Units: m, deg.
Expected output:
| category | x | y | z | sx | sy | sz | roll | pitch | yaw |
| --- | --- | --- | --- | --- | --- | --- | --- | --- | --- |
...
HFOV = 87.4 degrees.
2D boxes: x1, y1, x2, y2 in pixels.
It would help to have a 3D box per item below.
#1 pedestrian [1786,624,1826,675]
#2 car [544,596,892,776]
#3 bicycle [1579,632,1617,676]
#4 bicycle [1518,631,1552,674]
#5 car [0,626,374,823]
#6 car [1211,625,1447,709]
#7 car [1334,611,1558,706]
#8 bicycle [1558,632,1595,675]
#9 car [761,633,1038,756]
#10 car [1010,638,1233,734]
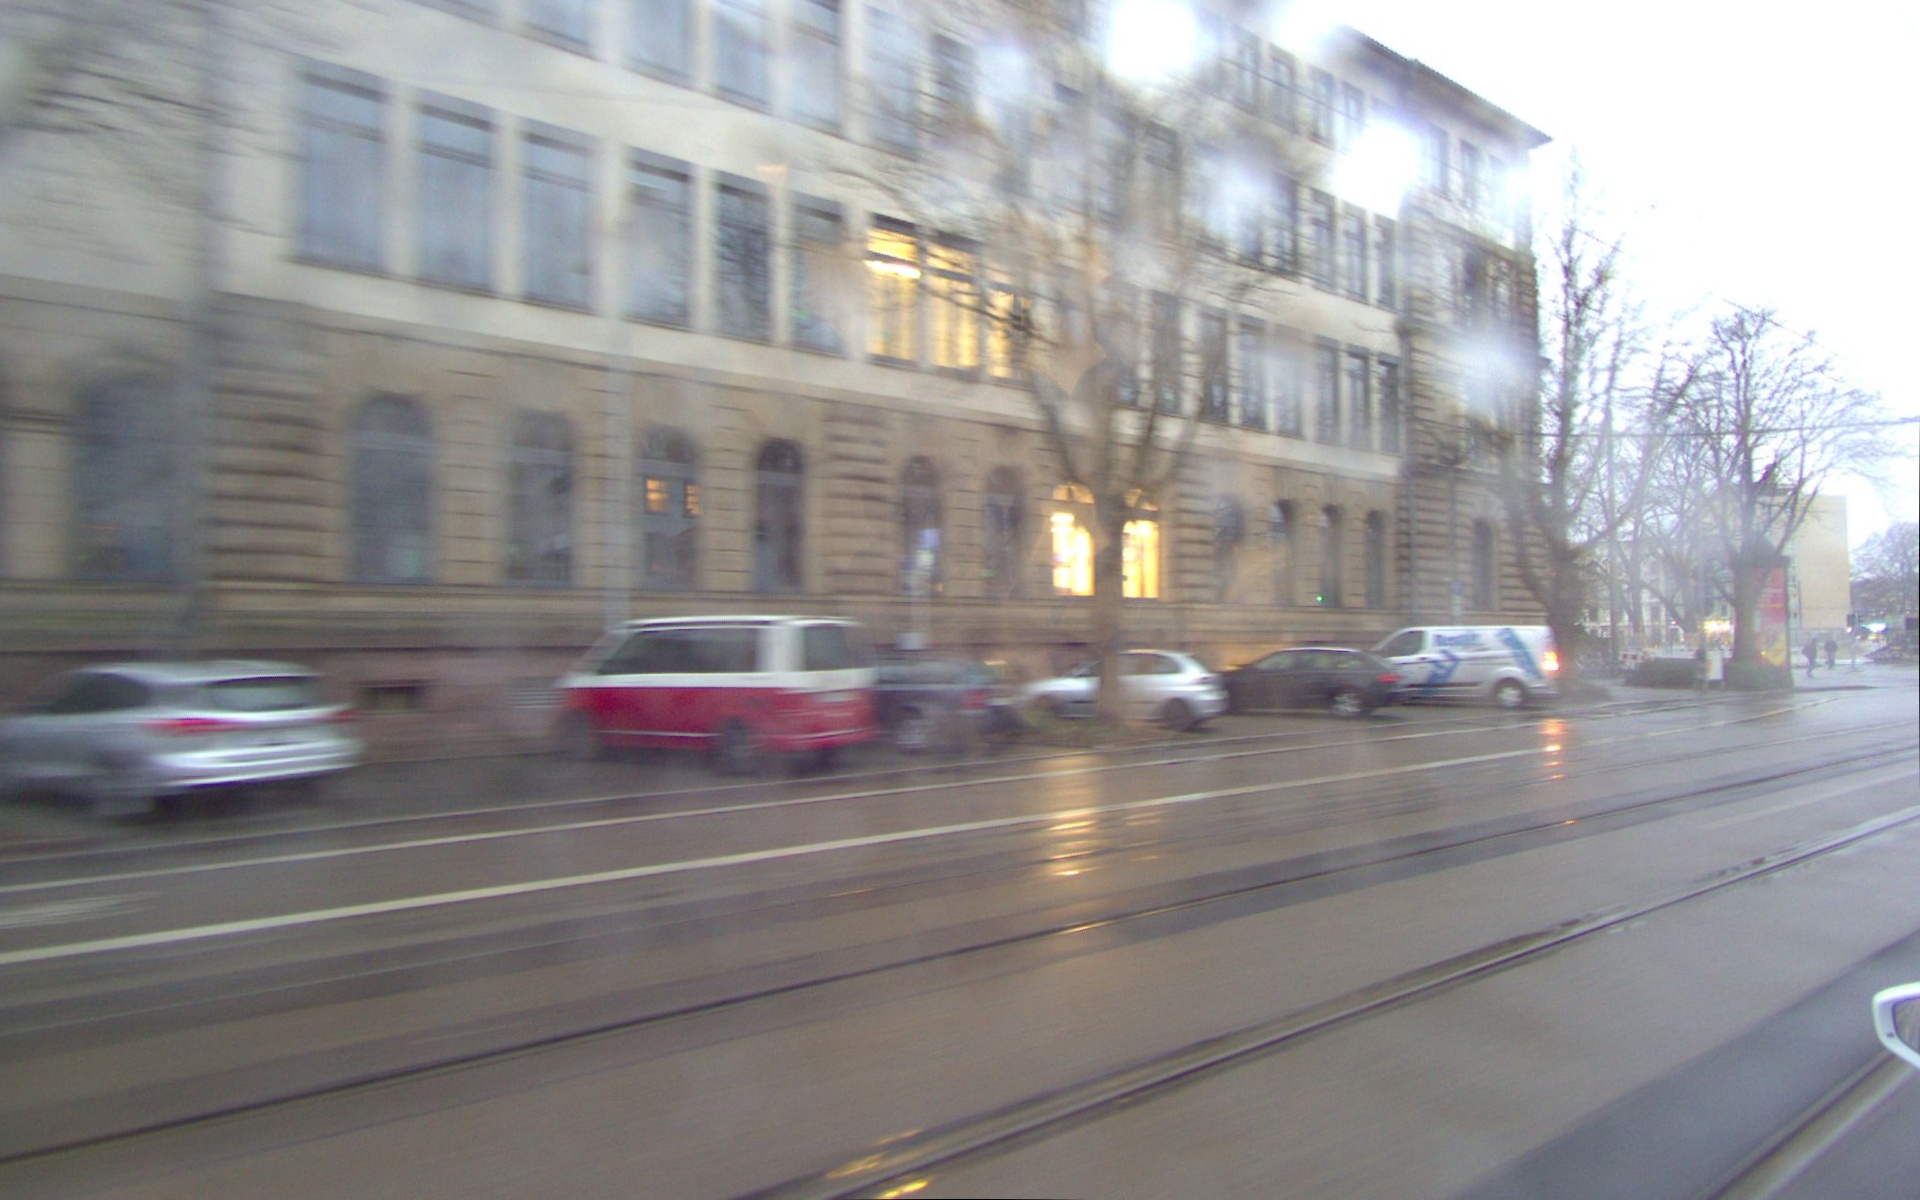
| category | x | y | z | sx | sy | sz | roll | pitch | yaw |
| --- | --- | --- | --- | --- | --- | --- | --- | --- | --- |
| pedestrian | 40.535 | 2.354 | 48.156 | 1.044 | 2.402 | 0.996 | 1 | 0 | -3 |
| car | -3.393 | 1.037 | 13.906 | 4.539 | 2.081 | 1.963 | 1 | 0 | 29 |
| bicycle | 26.430 | 2.212 | 41.661 | 0.699 | 1.711 | 2.430 | 1 | 0 | 17 |
| bicycle | 24.238 | 2.170 | 42.381 | 0.699 | 1.711 | 2.430 | 1 | 0 | 17 |
| car | -8.302 | 1.137 | 10.546 | 4.107 | 1.612 | 1.773 | 1 | 0 | 27 |
| car | 7.690 | 1.326 | 21.053 | 4.397 | 1.477 | 1.797 | 1 | -1 | 30 |
| car | 11.705 | 1.354 | 24.578 | 4.709 | 2.060 | 1.913 | 1 | 0 | 19 |
| bicycle | 25.715 | 2.198 | 41.909 | 0.699 | 1.711 | 2.430 | 1 | 0 | 17 |
| car | -0.959 | 1.350 | 15.533 | 3.905 | 1.560 | 1.821 | 1 | -1 | 29 |
| car | 2.964 | 1.500 | 18.417 | 3.753 | 1.477 | 1.637 | 1 | 0 | 23 |
